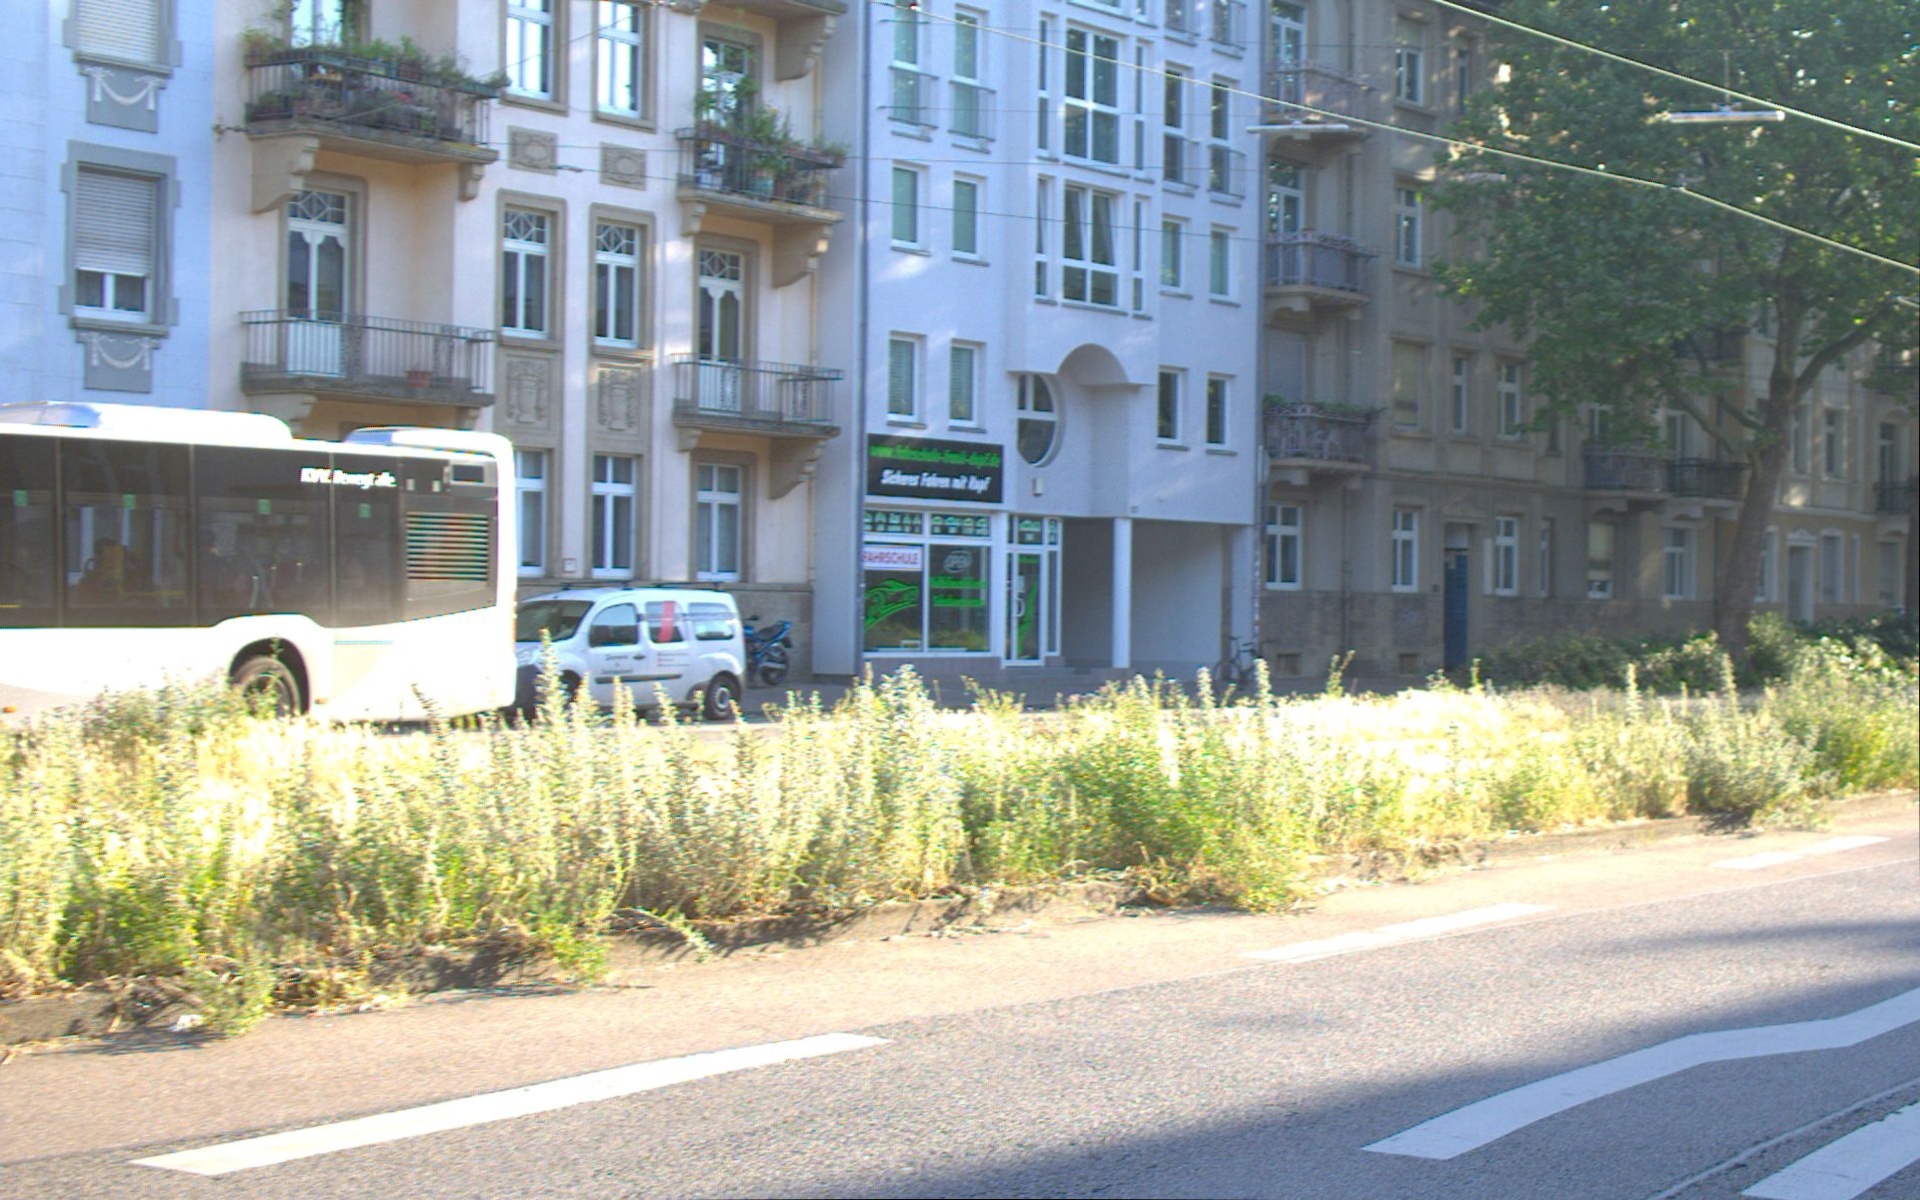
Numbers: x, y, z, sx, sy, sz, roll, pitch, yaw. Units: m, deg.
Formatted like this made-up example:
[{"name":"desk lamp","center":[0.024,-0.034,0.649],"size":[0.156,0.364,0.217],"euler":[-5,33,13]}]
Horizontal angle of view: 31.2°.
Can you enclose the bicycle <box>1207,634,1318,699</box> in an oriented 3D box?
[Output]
[{"name":"bicycle","center":[5.277,1.161,59.876],"size":[1.889,1.029,0.759],"euler":[2,5,-42]}]

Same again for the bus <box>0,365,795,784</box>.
[{"name":"bus","center":[-6.519,-0.127,32.183],"size":[3.261,3.363,11.952],"euler":[1,-1,35]}]

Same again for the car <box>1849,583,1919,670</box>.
[{"name":"car","center":[24.261,0.664,82.750],"size":[5.228,2.059,1.722],"euler":[1,0,-8]}]

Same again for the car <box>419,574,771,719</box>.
[{"name":"car","center":[-4.683,0.618,44.744],"size":[1.908,1.781,4.643],"euler":[1,-1,36]}]

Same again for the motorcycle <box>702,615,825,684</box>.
[{"name":"motorcycle","center":[-3.062,0.769,53.800],"size":[0.529,1.017,2.415],"euler":[4,2,33]}]
